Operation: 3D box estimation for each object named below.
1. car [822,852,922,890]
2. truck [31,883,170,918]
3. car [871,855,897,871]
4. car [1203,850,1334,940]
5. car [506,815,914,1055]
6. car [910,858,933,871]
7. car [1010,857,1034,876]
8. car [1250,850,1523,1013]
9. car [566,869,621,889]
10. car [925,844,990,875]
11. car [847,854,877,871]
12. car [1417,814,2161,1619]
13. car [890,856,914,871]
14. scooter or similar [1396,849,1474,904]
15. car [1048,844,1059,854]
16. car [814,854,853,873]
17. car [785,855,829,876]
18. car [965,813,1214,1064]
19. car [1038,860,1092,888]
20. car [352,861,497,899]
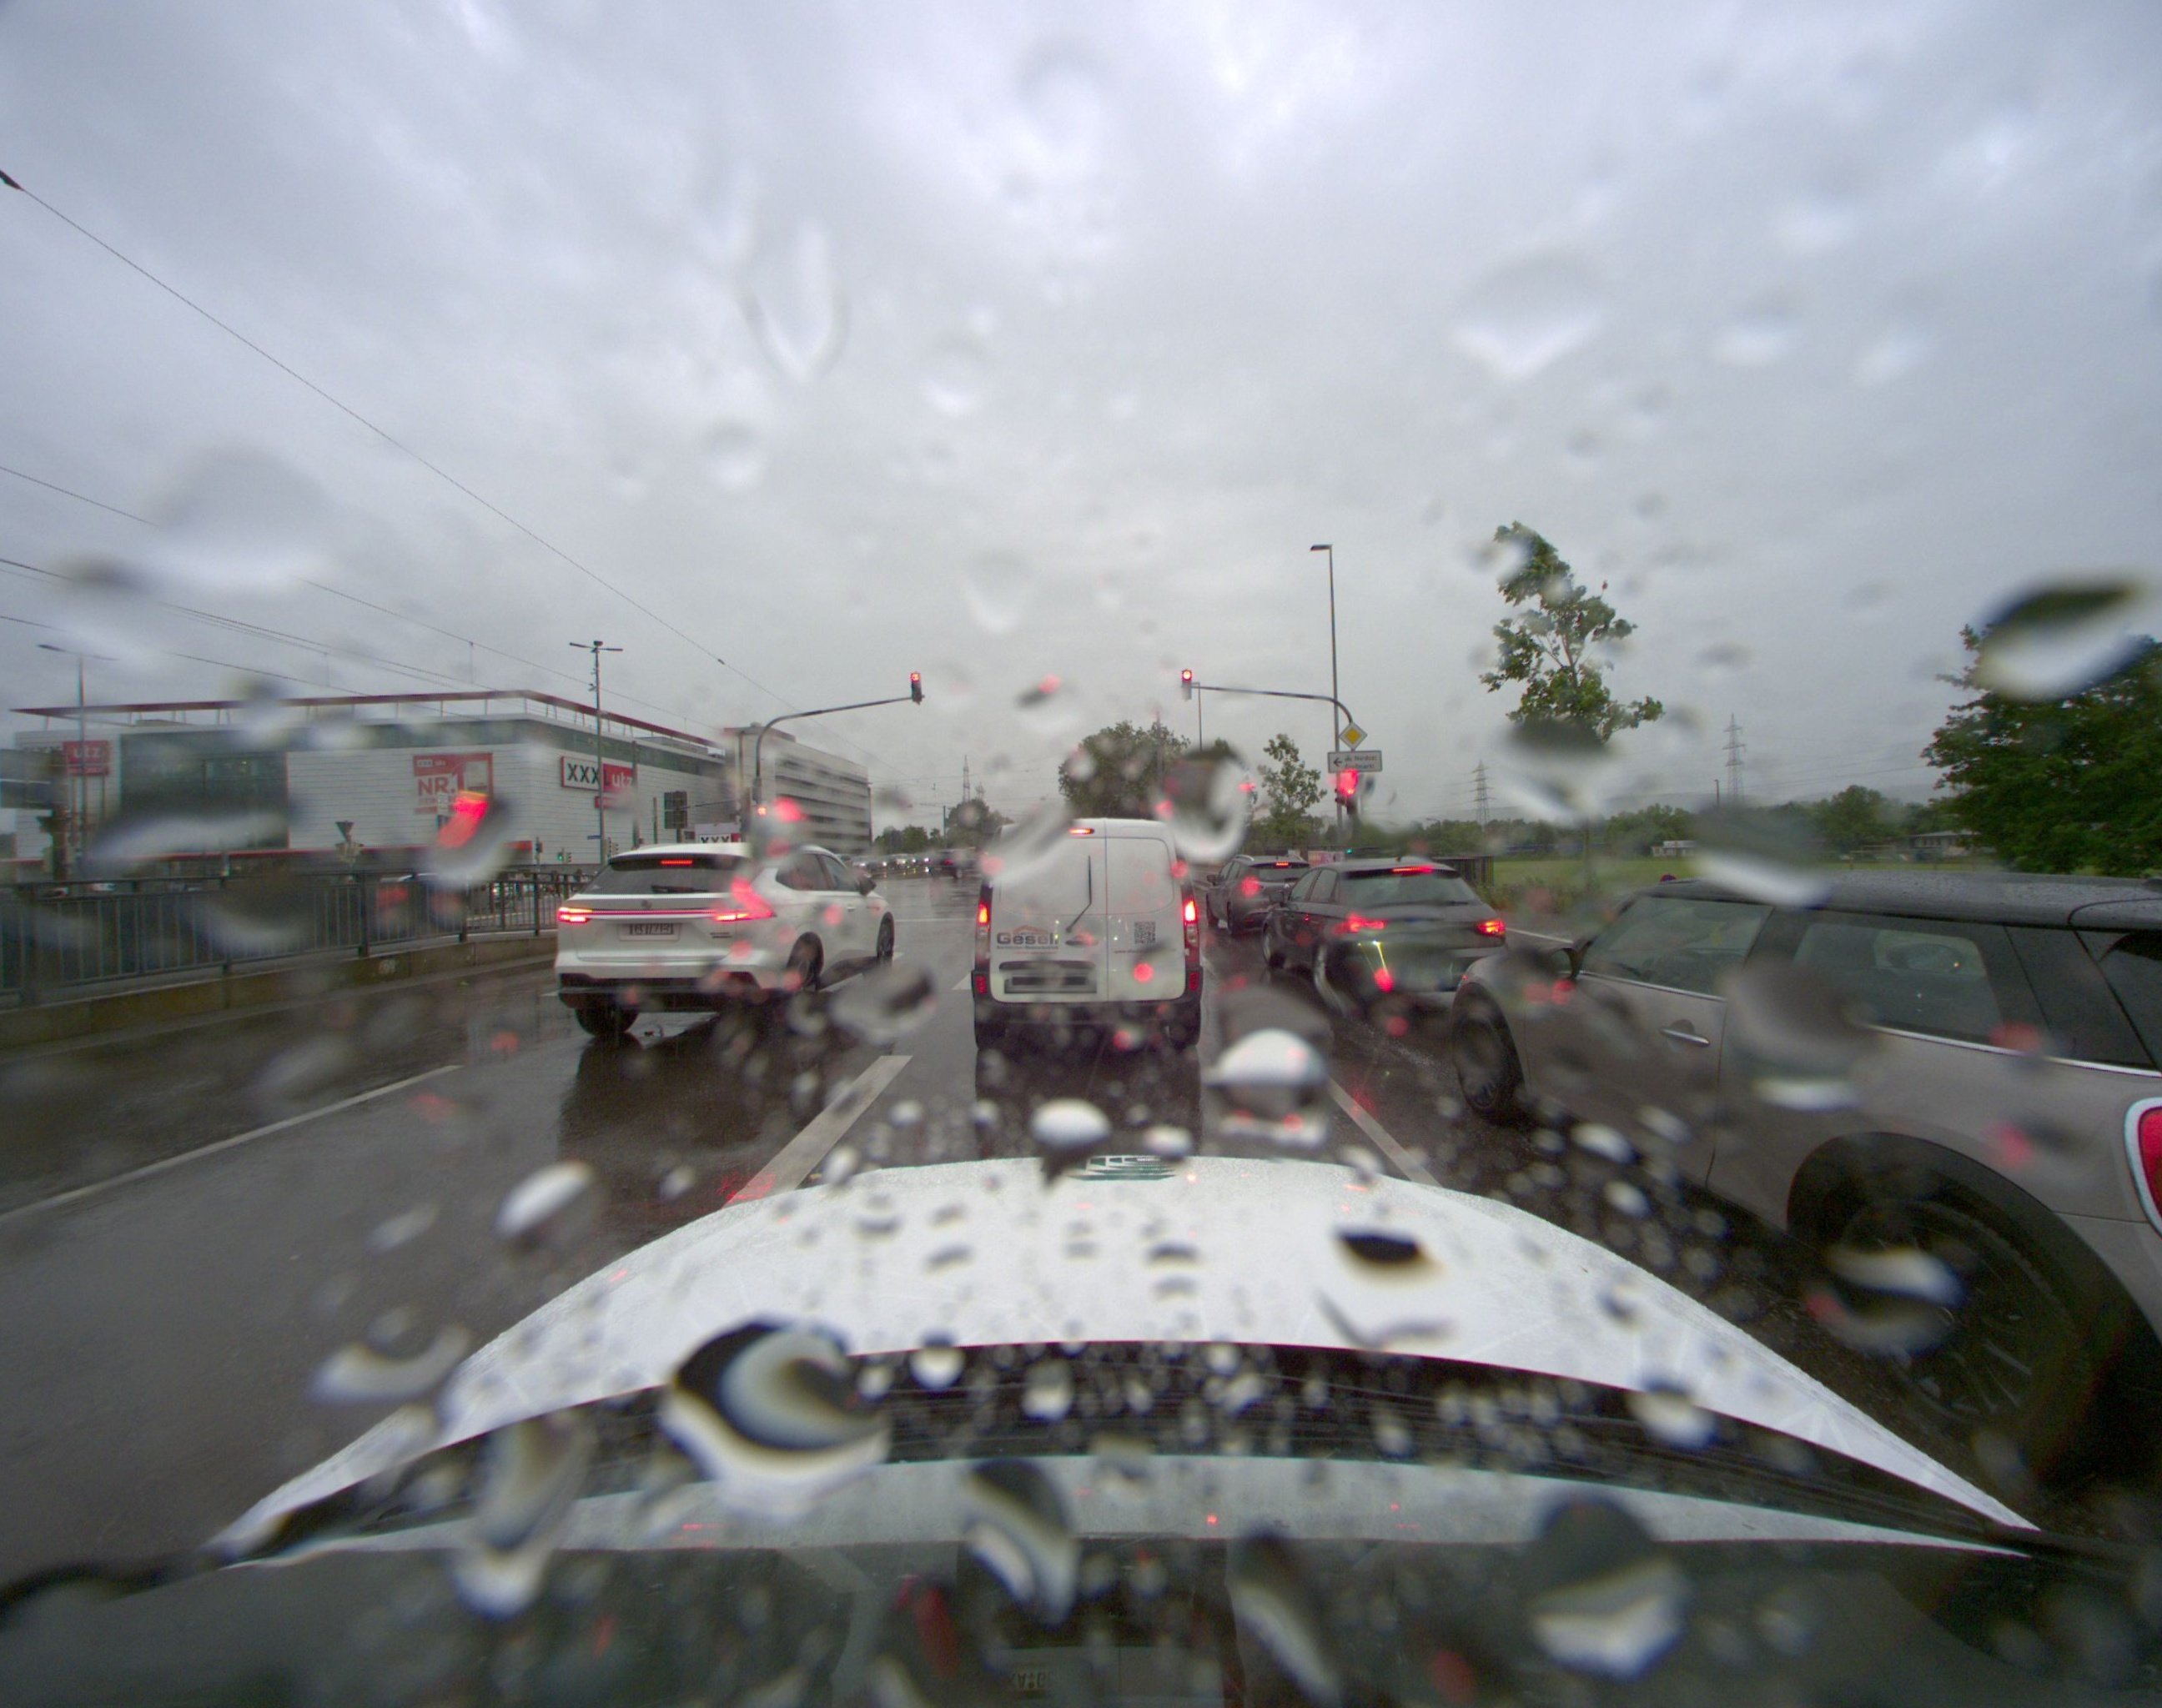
[{"bbox_3d":[-8.752,0.714,34.193,3.756,1.507,1.634,1,-1,-33],"label":"car"},{"bbox_3d":[-59.474,2.800,49.468,5.859,1.942,2.012,1,-1,0],"label":"truck"},{"bbox_3d":[-18.862,0.864,78.044,1.554,1.426,3.570,1,-1,2],"label":"car"},{"bbox_3d":[3.440,0.691,15.609,1.678,1.508,3.921,0,0,1],"label":"car"},{"bbox_3d":[-3.232,0.605,8.377,1.923,1.775,4.665,0,0,2],"label":"car"},{"bbox_3d":[-17.913,1.208,91.801,1.704,1.426,3.810,1,-1,2],"label":"car"},{"bbox_3d":[-4.576,0.958,63.500,1.641,1.398,3.452,2,0,-2],"label":"car"},{"bbox_3d":[3.070,0.721,8.984,1.592,1.366,3.629,-2,-1,0],"label":"car"},{"bbox_3d":[-34.772,1.745,58.182,1.473,1.354,3.810,1,-1,2],"label":"car"},{"bbox_3d":[-7.018,0.334,46.506,1.685,1.674,3.819,2,0,27],"label":"car"},{"bbox_3d":[-19.036,0.772,70.963,1.554,1.426,3.570,1,-1,2],"label":"car"},{"bbox_3d":[2.945,0.702,3.243,1.696,1.508,3.881,1,0,2],"label":"car"},{"bbox_3d":[-18.593,1.002,84.529,1.554,1.426,3.570,1,-1,2],"label":"car"},{"bbox_3d":[8.526,0.495,19.770,0.687,1.211,3.022,-2,0,3],"label":"scooter or similar"},{"bbox_3d":[-5.008,-0.907,150.937,1.942,1.662,4.461,1,-1,-1],"label":"car"},{"bbox_3d":[-19.323,0.766,63.729,1.704,1.426,3.810,1,-1,2],"label":"car"},{"bbox_3d":[-19.421,0.804,57.821,1.704,1.426,3.810,1,-1,2],"label":"car"},{"bbox_3d":[0.012,0.567,7.841,1.749,1.750,4.166,-1,1,-2],"label":"car"},{"bbox_3d":[-0.826,1.054,44.552,1.517,1.398,3.817,2,0,23],"label":"car"},{"bbox_3d":[-26.357,1.025,32.822,4.237,1.428,1.646,1,-1,-9],"label":"car"}]
